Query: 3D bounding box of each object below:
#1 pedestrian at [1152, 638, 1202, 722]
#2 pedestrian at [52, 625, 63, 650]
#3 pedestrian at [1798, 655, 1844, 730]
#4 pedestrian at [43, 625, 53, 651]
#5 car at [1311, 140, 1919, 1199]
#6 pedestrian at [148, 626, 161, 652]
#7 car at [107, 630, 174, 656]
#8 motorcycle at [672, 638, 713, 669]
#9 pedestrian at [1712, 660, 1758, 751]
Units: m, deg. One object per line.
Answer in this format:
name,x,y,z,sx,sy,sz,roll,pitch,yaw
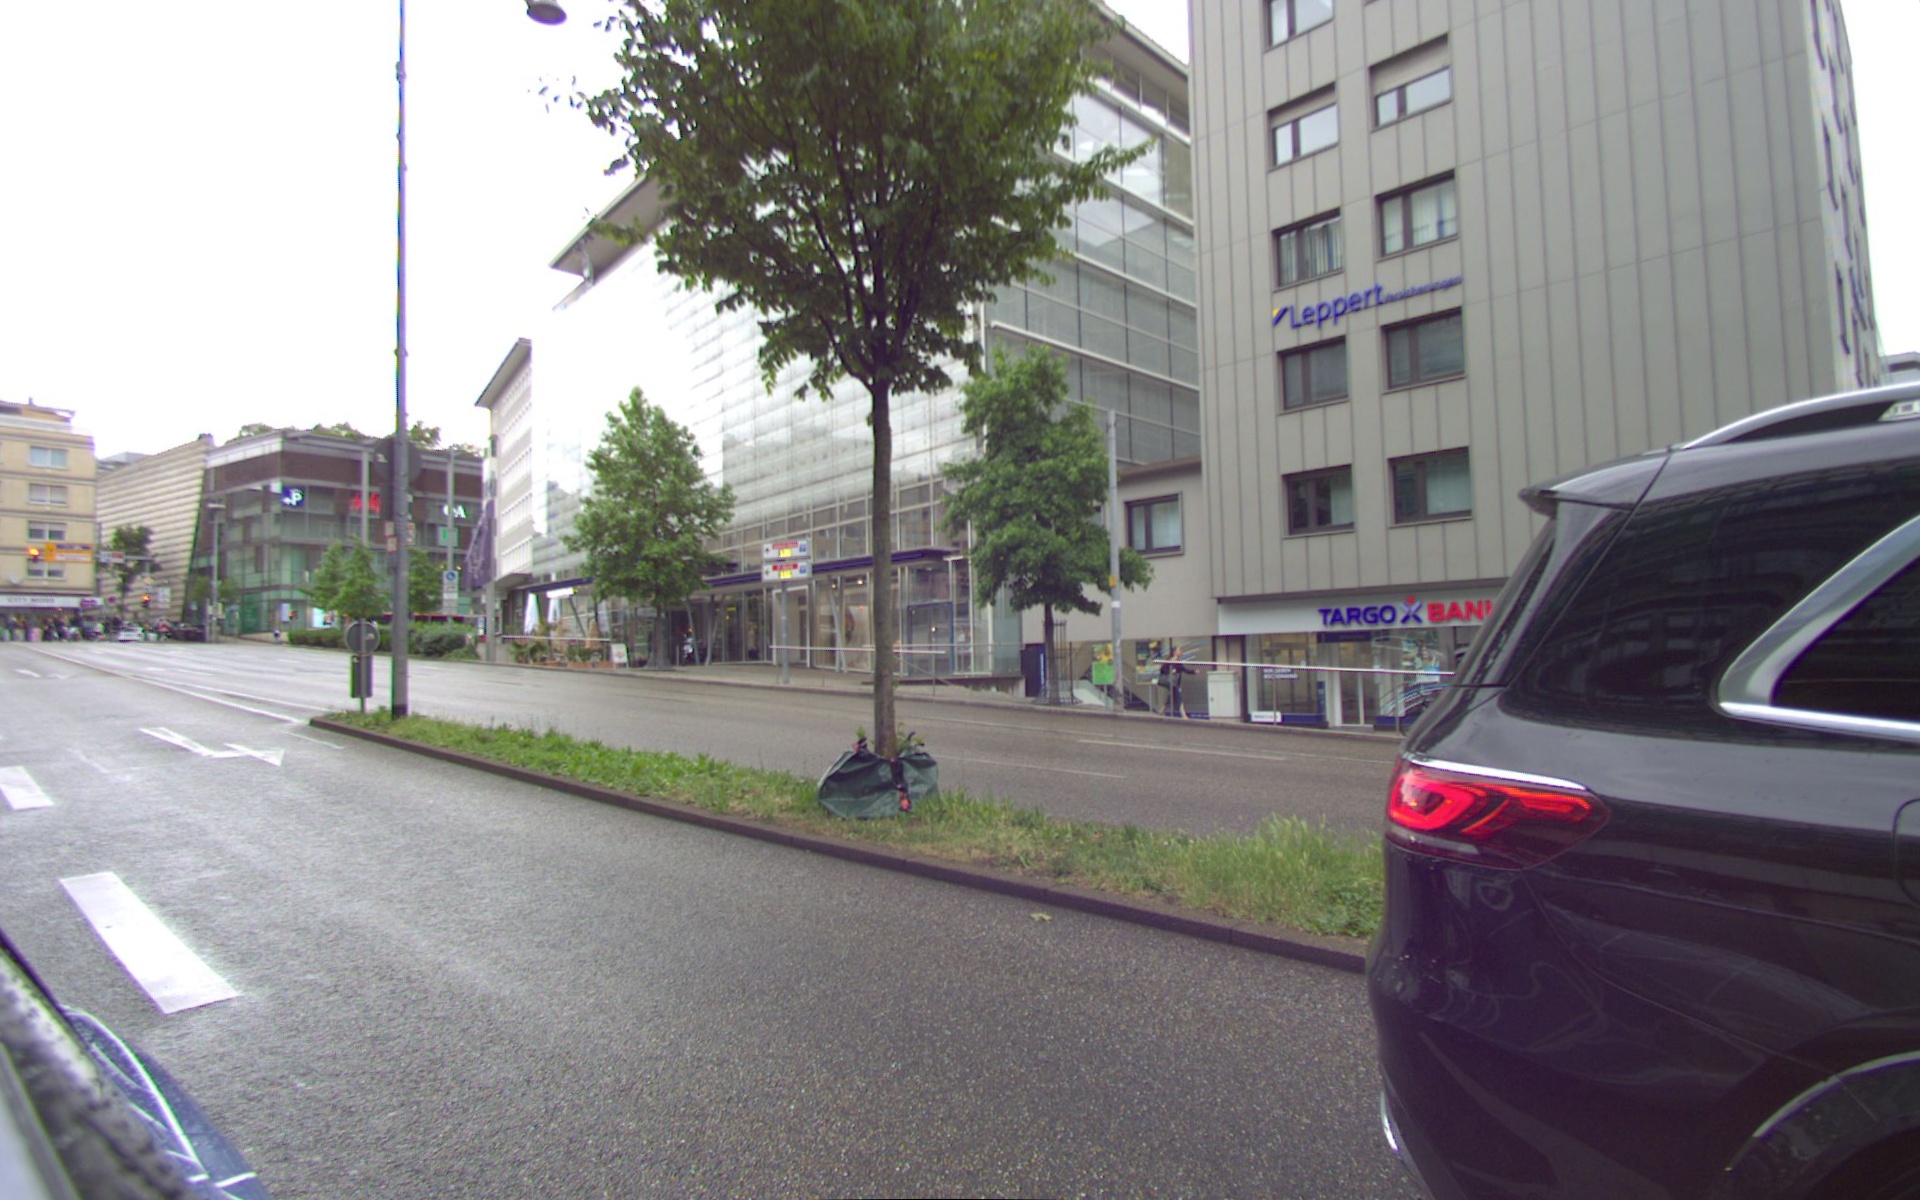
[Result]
pedestrian,4.461,1.624,20.845,0.626,1.649,0.791,0,0,-41
pedestrian,-59.508,2.496,66.736,0.602,1.642,0.422,-1,-3,44
pedestrian,20.610,2.192,24.232,0.724,1.710,0.781,0,-3,34
pedestrian,-58.592,2.444,65.016,0.422,1.642,0.603,3,-3,-45
car,3.125,0.384,0.789,5.069,1.884,1.892,0,0,40
pedestrian,-55.823,2.691,70.141,0.618,1.788,0.689,0,0,-45
car,-66.812,3.459,82.581,1.969,2.029,4.593,1,-2,-5
motorcycle,-12.131,2.428,45.934,0.620,1.336,1.685,-1,-3,41
pedestrian,14.947,2.009,19.537,0.634,1.649,0.781,0,0,34
